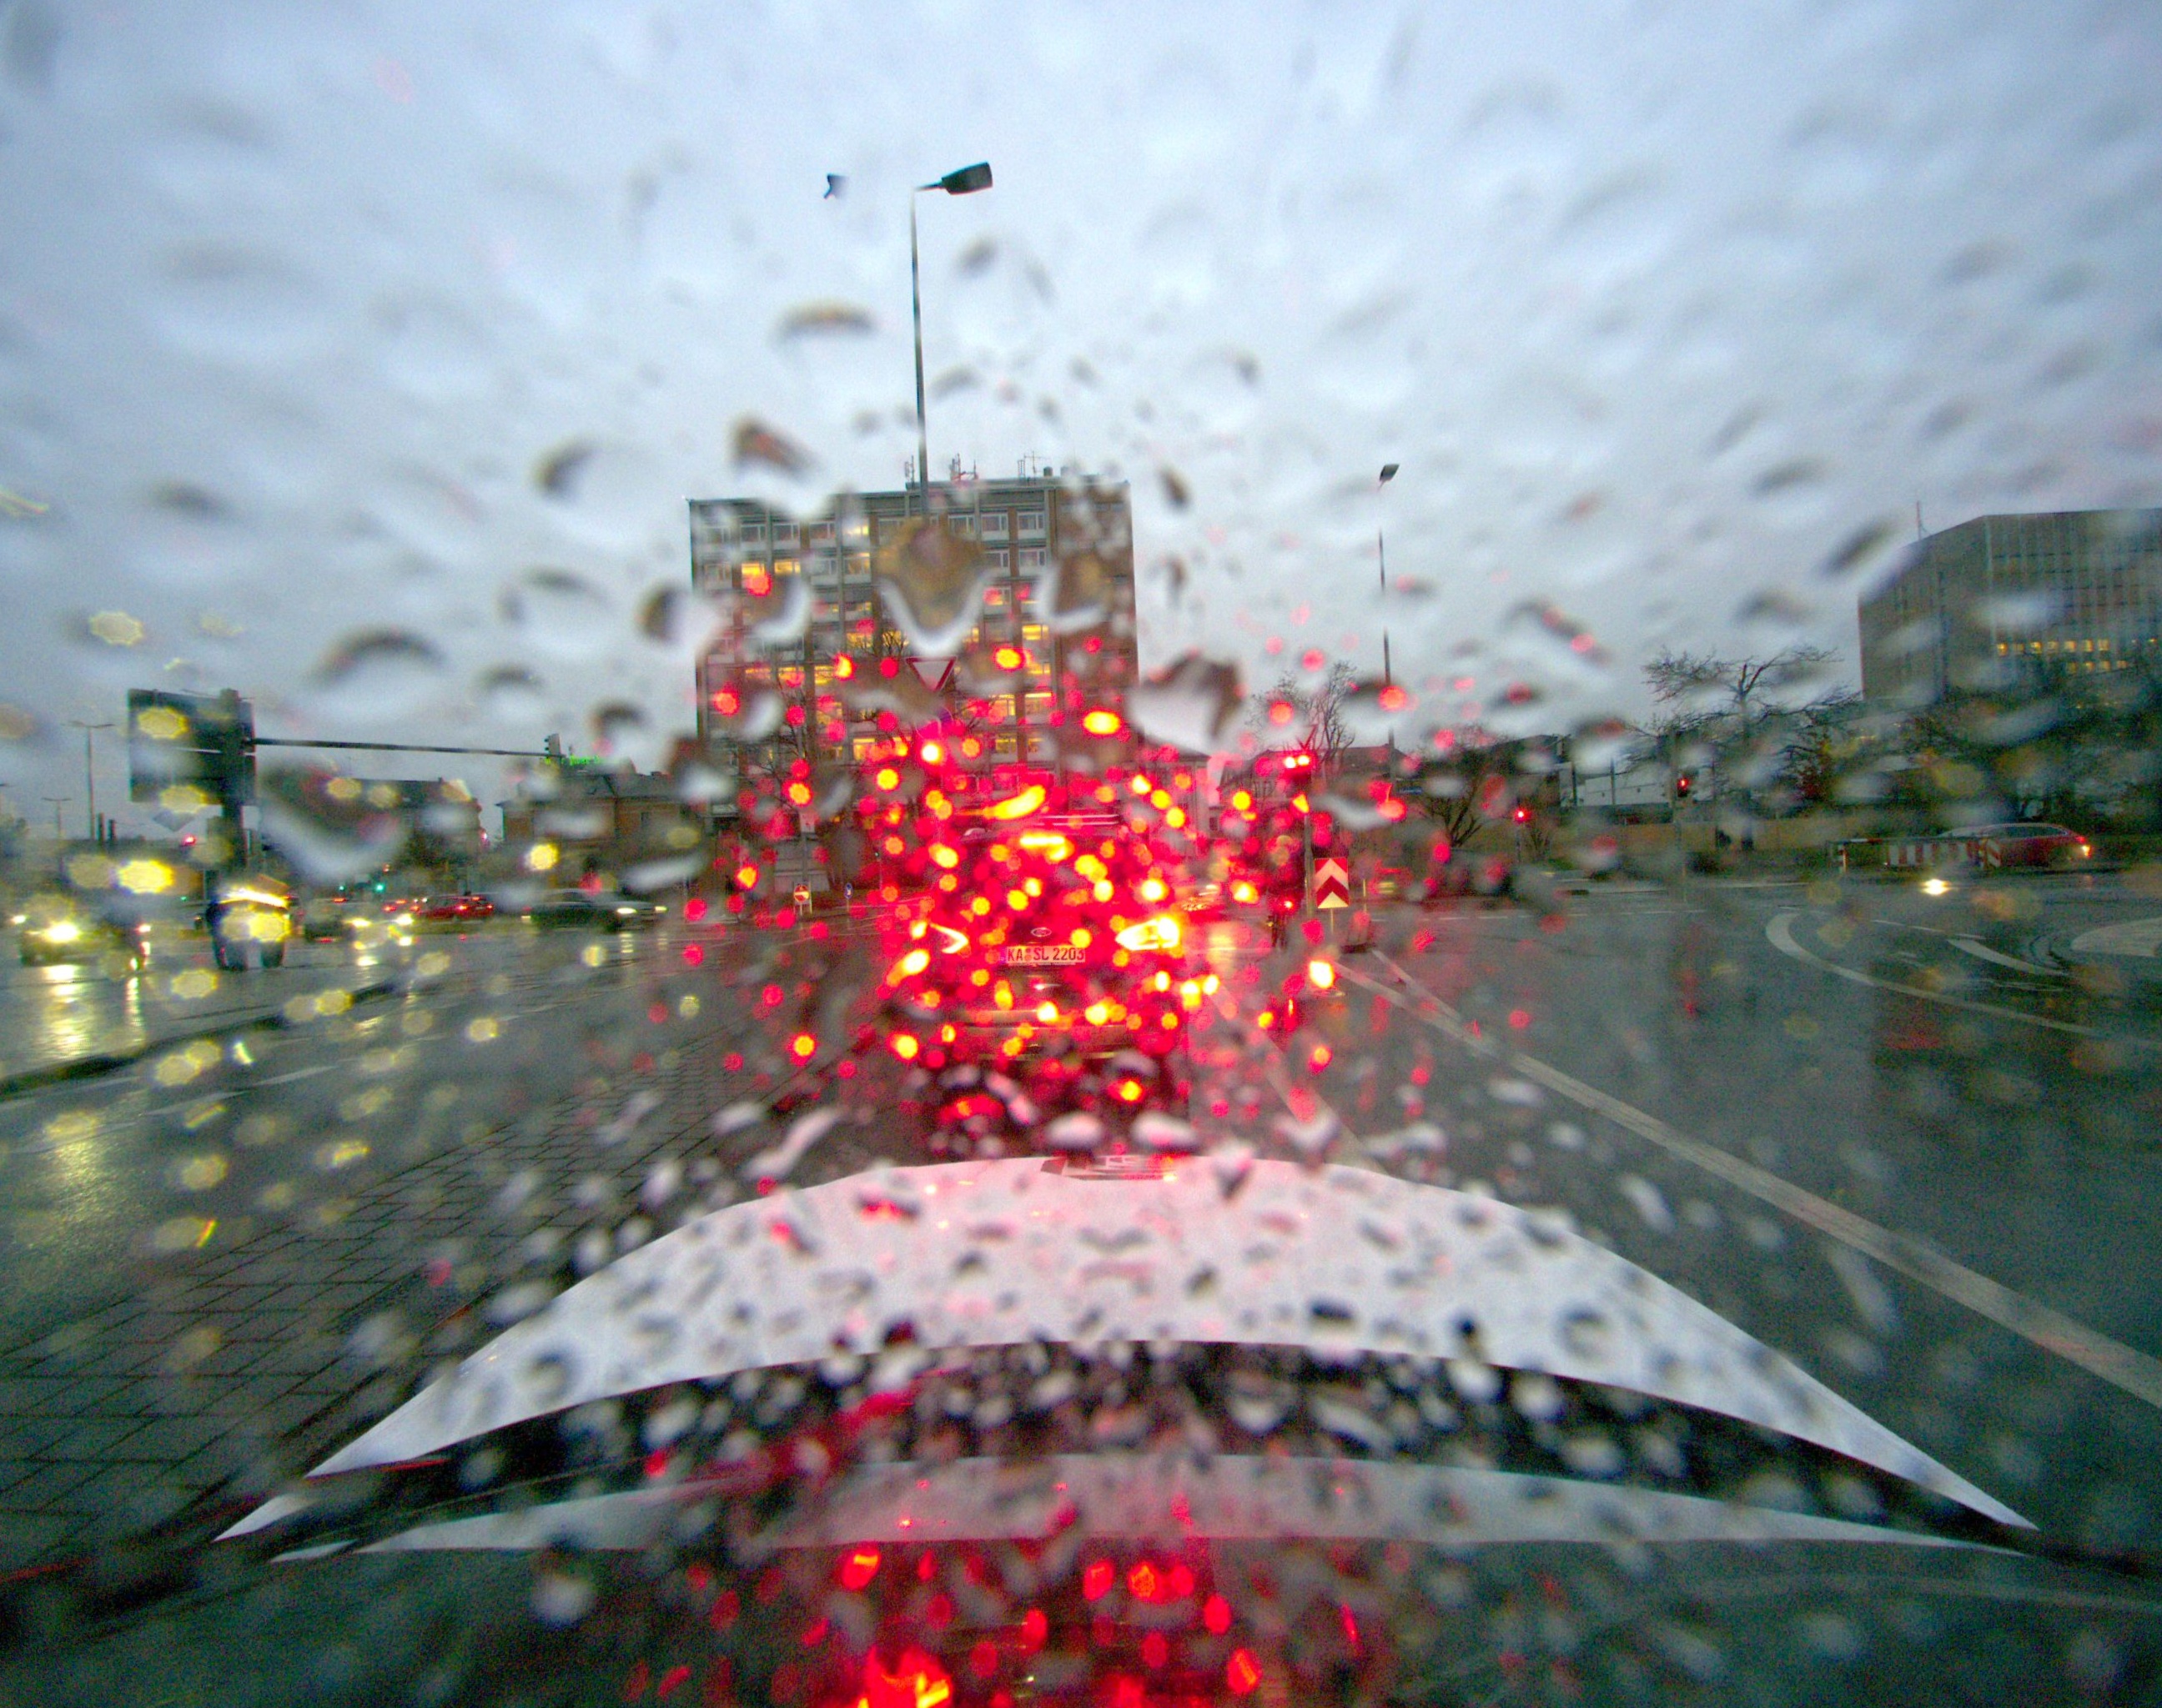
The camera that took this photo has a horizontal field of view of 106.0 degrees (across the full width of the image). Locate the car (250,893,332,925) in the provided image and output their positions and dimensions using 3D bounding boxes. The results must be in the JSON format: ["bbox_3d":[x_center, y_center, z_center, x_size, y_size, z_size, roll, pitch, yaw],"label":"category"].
[{"bbox_3d":[-51.154,3.519,52.777,1.649,1.826,3.609,-1,-1,39],"label":"car"}]

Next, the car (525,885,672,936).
[{"bbox_3d":[-16.521,1.931,27.876,4.615,1.477,1.821,-3,-1,22],"label":"car"}]

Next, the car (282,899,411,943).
[{"bbox_3d":[-29.036,2.639,32.209,4.616,1.477,1.820,-3,-1,20],"label":"car"}]

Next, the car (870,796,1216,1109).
[{"bbox_3d":[-0.160,0.585,6.691,1.986,1.789,4.001,0,-1,2],"label":"car"}]

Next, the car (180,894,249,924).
[{"bbox_3d":[-51.361,3.220,48.263,3.949,1.568,1.838,-1,-1,28],"label":"car"}]

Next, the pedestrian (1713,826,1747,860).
[{"bbox_3d":[31.723,-0.523,39.792,0.957,1.603,0.796,-3,0,5],"label":"pedestrian"}]

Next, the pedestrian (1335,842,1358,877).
[{"bbox_3d":[16.111,0.334,49.412,0.886,2.113,0.890,-3,0,-20],"label":"pedestrian"}]

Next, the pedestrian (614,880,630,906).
[{"bbox_3d":[-31.878,2.703,56.563,0.634,1.688,0.640,-3,0,18],"label":"pedestrian"}]

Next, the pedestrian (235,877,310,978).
[{"bbox_3d":[-17.315,1.545,17.468,0.996,2.021,0.792,-3,0,-39],"label":"pedestrian"}]

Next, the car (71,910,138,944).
[{"bbox_3d":[-48.274,3.574,40.235,4.610,1.477,1.823,-4,-1,36],"label":"car"}]

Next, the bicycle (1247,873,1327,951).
[{"bbox_3d":[3.116,0.844,12.488,0.780,1.075,1.958,0,-1,2],"label":"bicycle"}]

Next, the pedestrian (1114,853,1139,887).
[{"bbox_3d":[2.462,0.858,44.041,1.127,1.720,0.984,-3,0,12],"label":"pedestrian"}]

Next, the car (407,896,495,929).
[{"bbox_3d":[-33.324,3.045,43.080,3.954,1.568,1.836,-1,-1,20],"label":"car"}]

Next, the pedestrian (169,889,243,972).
[{"bbox_3d":[-19.548,1.700,18.209,0.653,1.755,0.856,-3,0,18],"label":"pedestrian"}]

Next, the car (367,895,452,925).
[{"bbox_3d":[-38.398,3.164,46.624,1.496,1.461,3.453,-1,-1,31],"label":"car"}]

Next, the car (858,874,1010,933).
[{"bbox_3d":[-4.255,1.435,23.930,3.931,1.477,1.816,-3,-1,9],"label":"car"}]

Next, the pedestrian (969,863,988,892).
[{"bbox_3d":[-5.893,1.351,46.666,0.753,1.628,0.725,-3,0,18],"label":"pedestrian"}]

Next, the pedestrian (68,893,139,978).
[{"bbox_3d":[-21.450,1.772,17.883,0.741,1.770,0.546,-3,0,-12],"label":"pedestrian"}]

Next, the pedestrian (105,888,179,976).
[{"bbox_3d":[-20.765,1.699,18.021,0.733,1.838,0.674,-3,0,-11],"label":"pedestrian"}]

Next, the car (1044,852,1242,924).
[{"bbox_3d":[1.573,0.824,19.992,4.546,1.477,1.817,-3,-1,13],"label":"car"}]

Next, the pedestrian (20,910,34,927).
[{"bbox_3d":[-133.475,8.156,103.145,0.908,2.013,0.986,-3,0,42],"label":"pedestrian"}]

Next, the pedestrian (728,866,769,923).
[{"bbox_3d":[-12.258,1.481,30.016,0.922,1.978,0.962,-3,0,8],"label":"pedestrian"}]

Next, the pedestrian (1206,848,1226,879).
[{"bbox_3d":[7.166,0.498,43.267,0.920,1.533,1.045,-3,0,6],"label":"pedestrian"}]

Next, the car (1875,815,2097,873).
[{"bbox_3d":[27.508,-0.268,24.897,4.390,1.477,1.814,-3,-1,6],"label":"car"}]

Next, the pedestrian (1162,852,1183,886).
[{"bbox_3d":[5.052,0.823,45.055,0.990,1.799,0.922,-3,0,11],"label":"pedestrian"}]

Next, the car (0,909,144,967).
[{"bbox_3d":[-32.341,2.674,26.075,3.952,1.577,1.784,-3,0,21],"label":"car"}]

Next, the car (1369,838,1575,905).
[{"bbox_3d":[10.130,0.462,21.451,4.547,1.477,1.817,-3,-1,12],"label":"car"}]

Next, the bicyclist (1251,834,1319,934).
[{"bbox_3d":[3.099,0.446,12.497,0.780,1.453,1.134,0,-1,2],"label":"bicyclist"}]

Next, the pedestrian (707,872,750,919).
[{"bbox_3d":[-14.687,1.721,33.949,0.992,1.842,1.145,-3,2,22],"label":"pedestrian"}]
